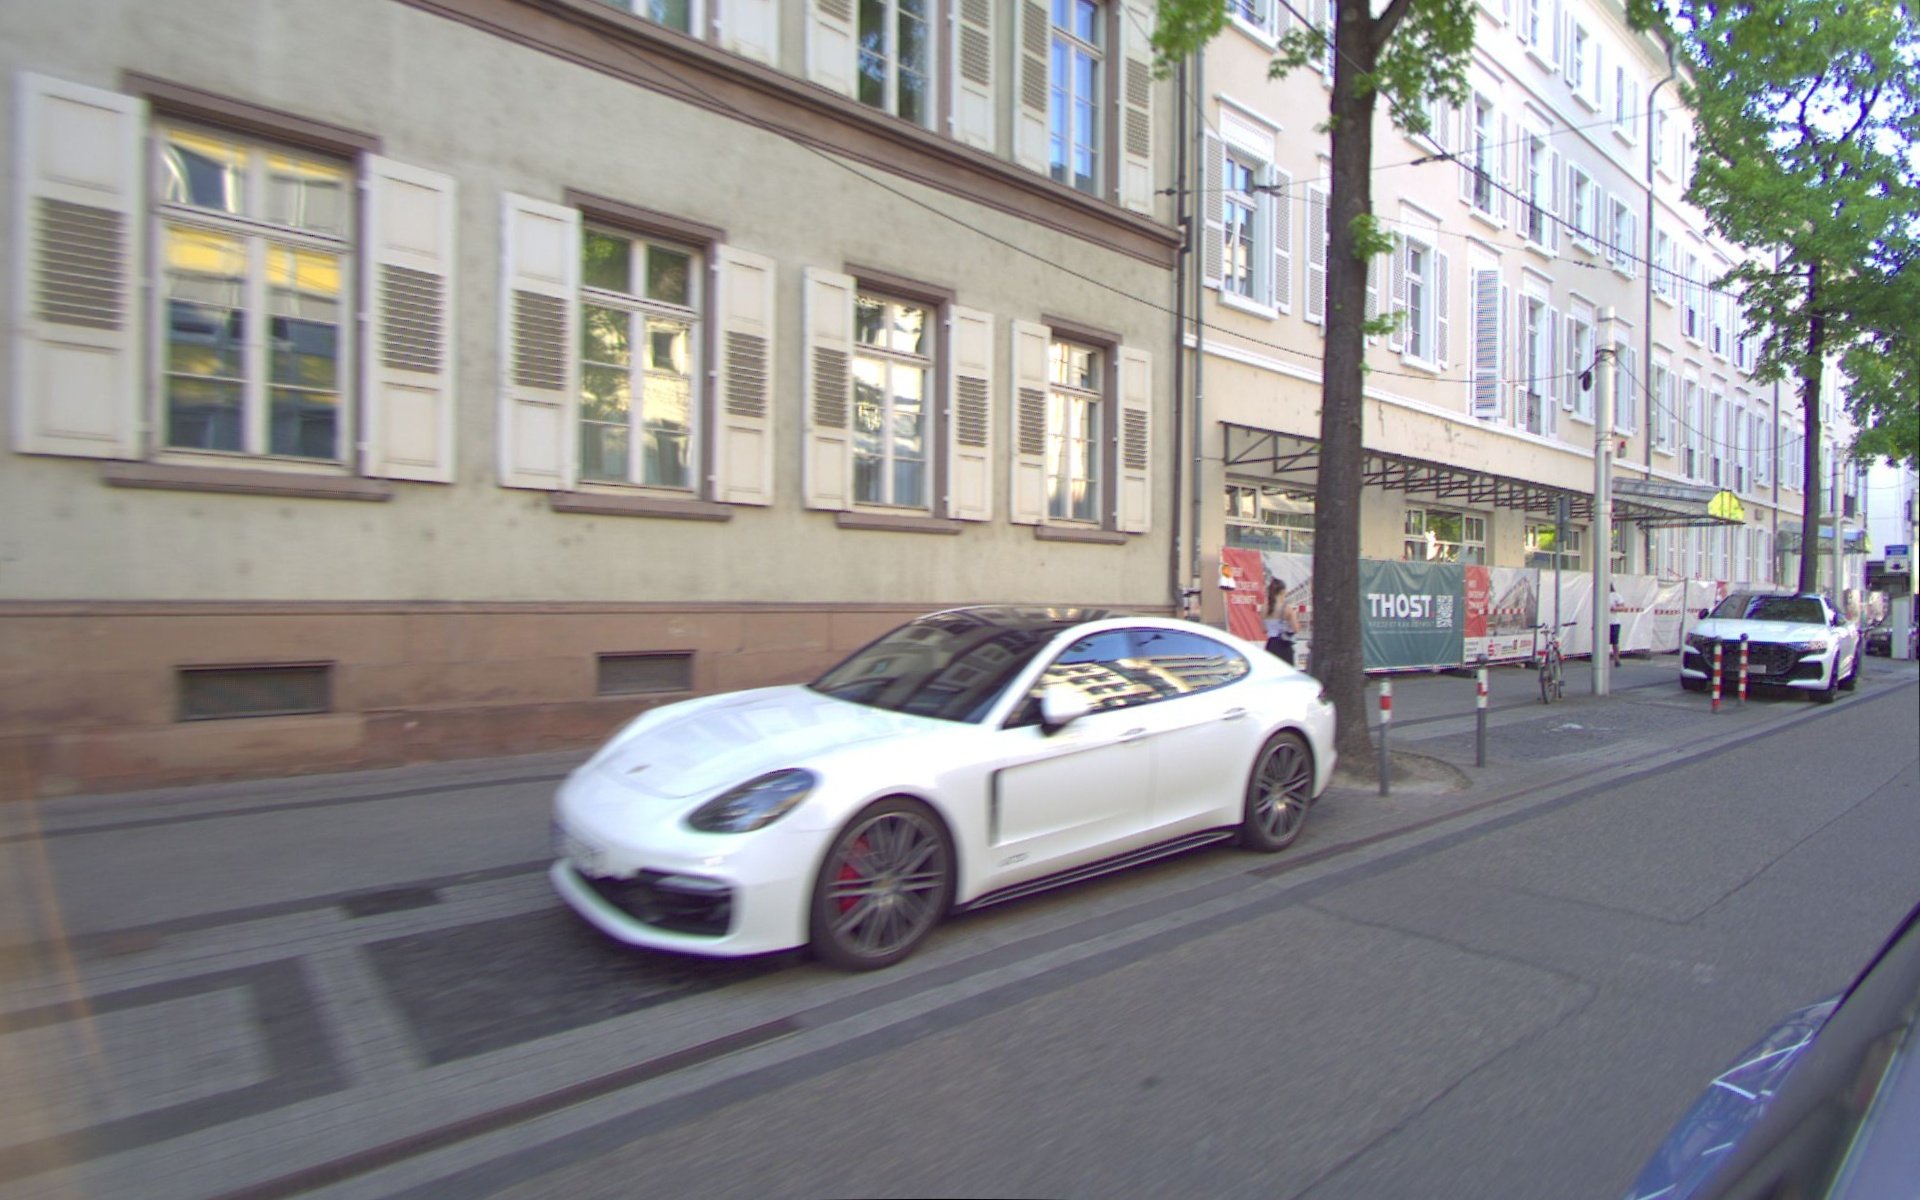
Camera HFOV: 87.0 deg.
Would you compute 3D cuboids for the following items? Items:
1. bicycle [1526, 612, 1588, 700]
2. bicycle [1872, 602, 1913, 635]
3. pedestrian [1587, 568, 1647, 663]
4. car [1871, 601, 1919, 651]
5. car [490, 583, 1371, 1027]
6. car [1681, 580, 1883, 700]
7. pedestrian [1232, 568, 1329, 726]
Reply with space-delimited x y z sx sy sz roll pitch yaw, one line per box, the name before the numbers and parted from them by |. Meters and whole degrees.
bicycle | 8.569 0.763 14.493 0.417 1.114 1.959 2 2 40
bicycle | 32.384 0.626 35.164 0.650 1.084 1.656 3 2 31
pedestrian | 13.658 0.295 21.033 1.034 1.910 0.714 0 1 -40
car | 28.089 0.734 29.404 4.252 1.327 1.798 0 3 -40
car | 0.170 0.691 5.725 4.800 1.438 1.917 0 3 -40
car | 14.140 0.546 17.299 4.884 1.708 2.000 -1 3 -43
pedestrian | 3.385 0.469 10.688 0.784 1.593 0.650 0 0 -40
